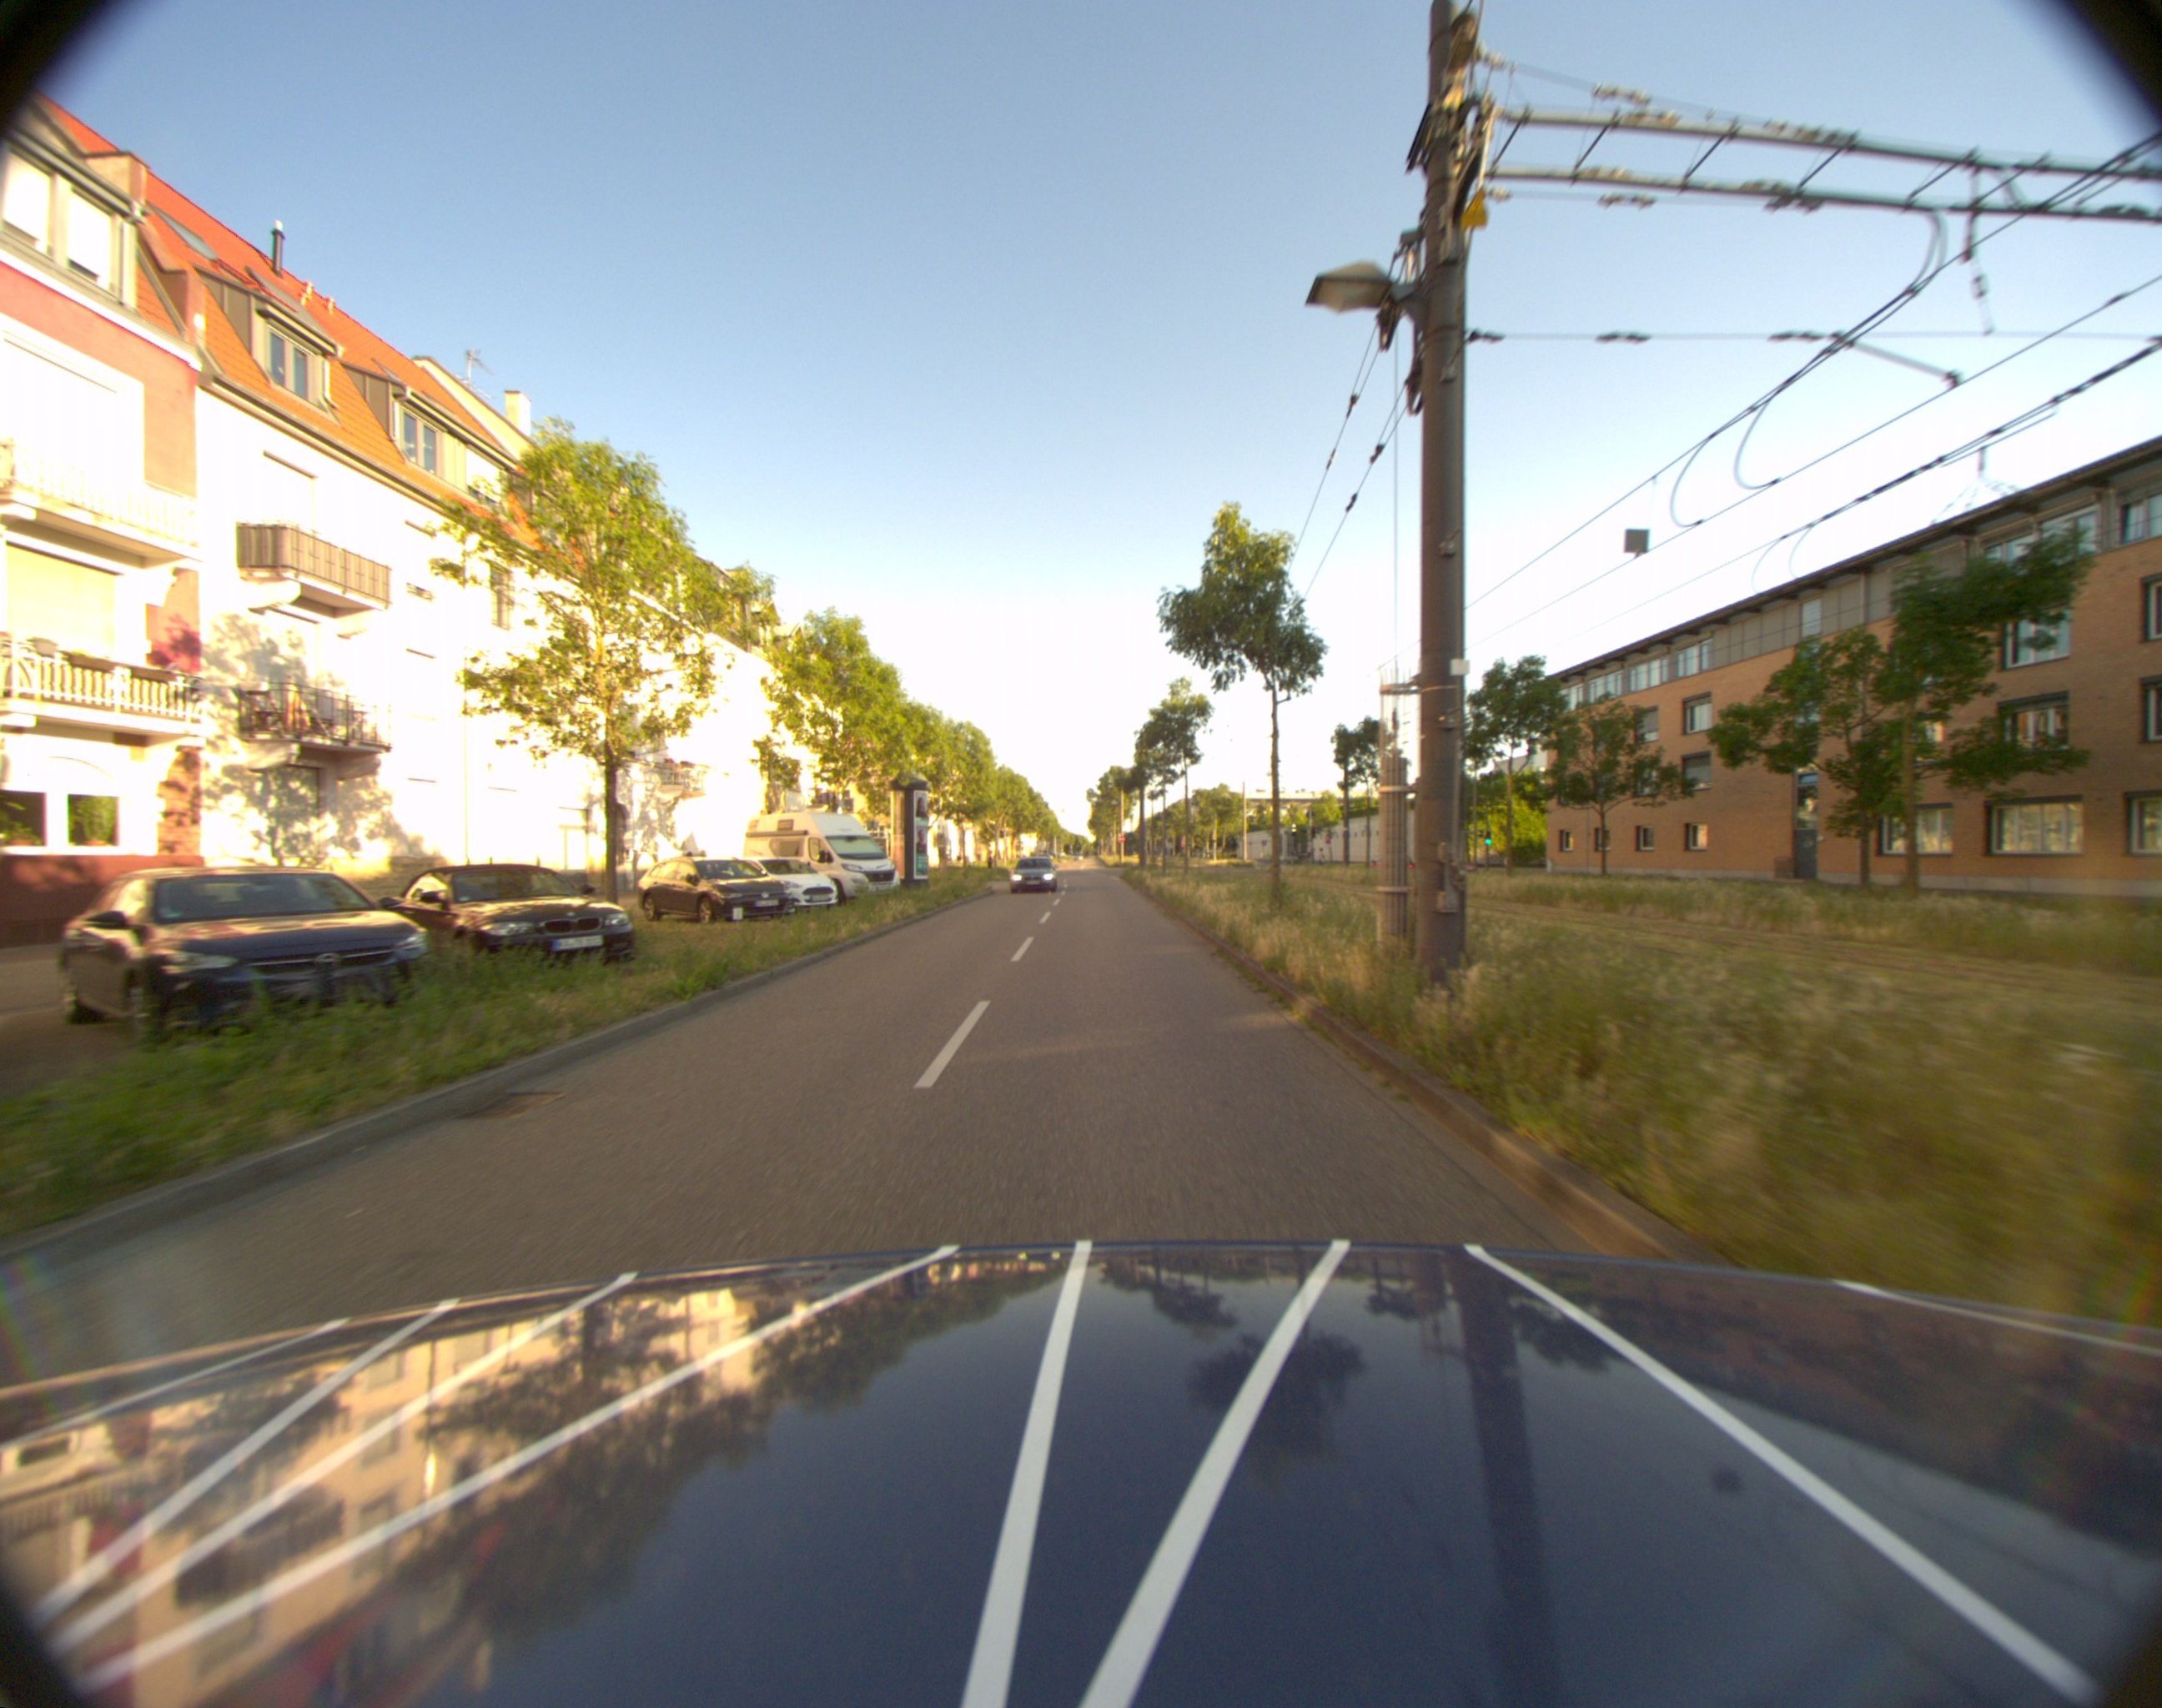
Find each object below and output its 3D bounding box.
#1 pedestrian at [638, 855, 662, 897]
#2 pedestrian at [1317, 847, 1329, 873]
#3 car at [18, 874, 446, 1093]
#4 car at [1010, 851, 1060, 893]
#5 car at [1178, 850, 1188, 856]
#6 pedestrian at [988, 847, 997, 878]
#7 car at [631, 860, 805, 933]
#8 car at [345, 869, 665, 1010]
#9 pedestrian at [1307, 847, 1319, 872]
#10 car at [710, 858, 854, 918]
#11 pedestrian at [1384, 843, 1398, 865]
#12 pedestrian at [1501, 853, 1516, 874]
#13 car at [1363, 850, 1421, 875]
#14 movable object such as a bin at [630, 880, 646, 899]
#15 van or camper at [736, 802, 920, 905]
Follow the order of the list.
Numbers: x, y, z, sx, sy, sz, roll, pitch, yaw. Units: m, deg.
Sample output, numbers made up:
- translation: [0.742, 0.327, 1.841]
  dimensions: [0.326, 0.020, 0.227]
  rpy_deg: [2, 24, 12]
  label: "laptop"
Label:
- translation: [-15.904, 0.819, 28.042]
  dimensions: [0.509, 1.531, 0.581]
  rpy_deg: [-1, 1, 0]
  label: "pedestrian"
- translation: [15.849, 0.366, 49.823]
  dimensions: [0.515, 1.675, 0.548]
  rpy_deg: [-1, 1, -29]
  label: "pedestrian"
- translation: [-7.840, 0.941, 6.958]
  dimensions: [4.042, 1.429, 1.730]
  rpy_deg: [-1, 1, 29]
  label: "car"
- translation: [-1.922, 0.719, 32.337]
  dimensions: [1.999, 1.655, 3.999]
  rpy_deg: [0, 0, -3]
  label: "car"
- translation: [23.221, -0.167, 172.495]
  dimensions: [1.794, 1.368, 4.000]
  rpy_deg: [0, 0, 1]
  label: "car"
- translation: [-5.841, 0.565, 50.150]
  dimensions: [0.514, 2.002, 0.599]
  rpy_deg: [-1, 1, 1]
  label: "pedestrian"
- translation: [-8.138, 0.849, 16.901]
  dimensions: [4.264, 1.395, 1.799]
  rpy_deg: [0, 1, 39]
  label: "car"
- translation: [-7.640, 0.958, 9.970]
  dimensions: [4.424, 1.415, 1.926]
  rpy_deg: [-1, 0, 33]
  label: "car"
- translation: [15.528, 0.348, 50.766]
  dimensions: [0.515, 1.675, 0.548]
  rpy_deg: [-1, 1, -29]
  label: "pedestrian"
- translation: [-7.848, 0.812, 19.812]
  dimensions: [3.912, 1.395, 1.799]
  rpy_deg: [0, 1, 40]
  label: "car"
- translation: [27.859, -0.021, 68.329]
  dimensions: [0.731, 2.002, 0.866]
  rpy_deg: [-1, 1, -17]
  label: "pedestrian"
- translation: [27.310, 0.615, 48.543]
  dimensions: [0.587, 1.359, 0.575]
  rpy_deg: [-1, 1, -5]
  label: "pedestrian"
- translation: [18.046, 0.443, 44.275]
  dimensions: [1.794, 1.368, 4.000]
  rpy_deg: [0, 0, 1]
  label: "car"
- translation: [-16.008, 1.274, 27.450]
  dimensions: [0.214, 0.650, 0.605]
  rpy_deg: [-1, 1, 0]
  label: "movable object such as a bin"
- translation: [-7.761, -0.004, 23.084]
  dimensions: [5.635, 2.796, 2.208]
  rpy_deg: [0, 1, 33]
  label: "van or camper"
